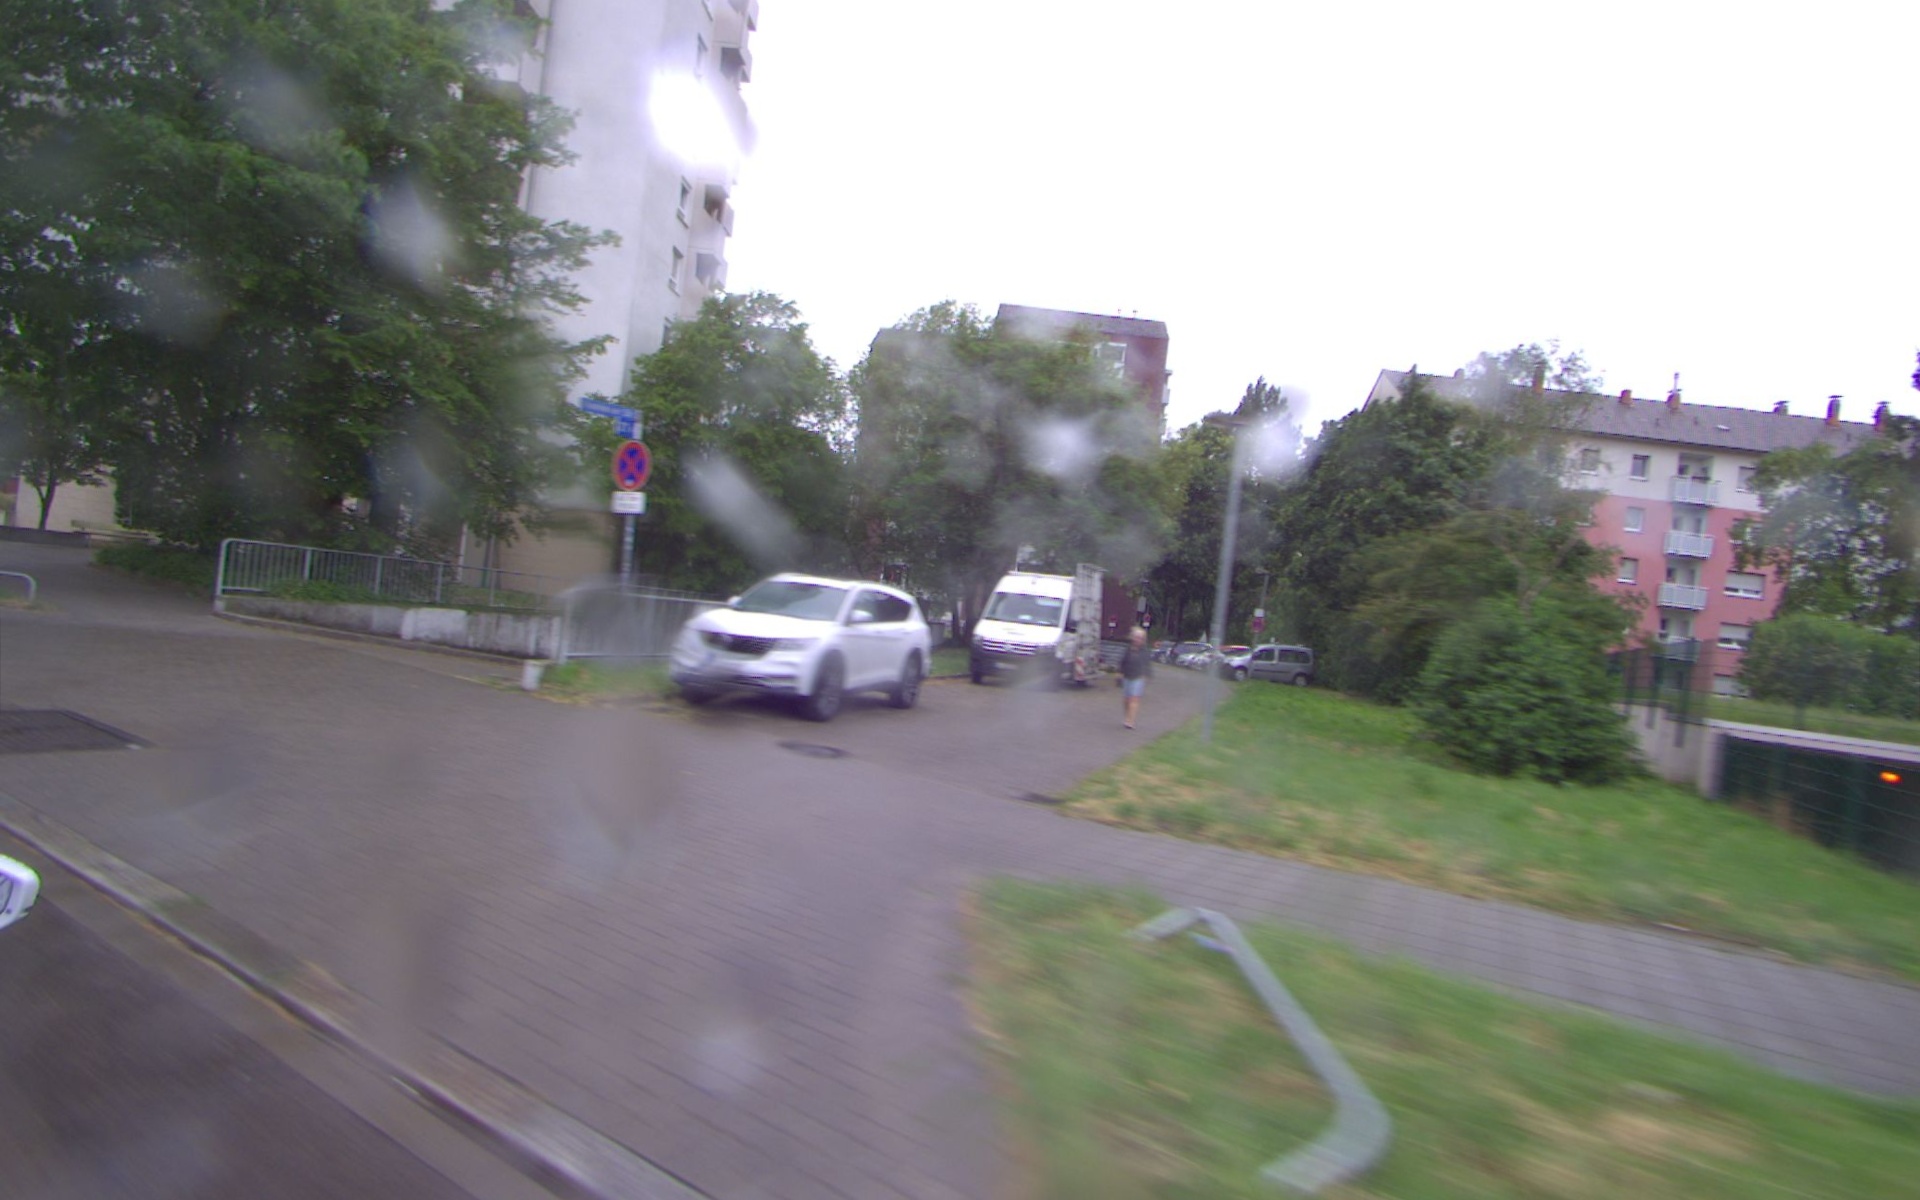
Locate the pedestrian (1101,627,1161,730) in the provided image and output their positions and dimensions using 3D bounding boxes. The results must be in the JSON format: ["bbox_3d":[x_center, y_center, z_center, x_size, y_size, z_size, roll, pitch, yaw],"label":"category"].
[{"bbox_3d":[2.879,1.300,16.871,0.799,1.589,0.840,7,0,12],"label":"pedestrian"}]

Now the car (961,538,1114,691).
[{"bbox_3d":[2.046,0.450,24.071,2.090,2.999,6.079,7,-1,17],"label":"car"}]

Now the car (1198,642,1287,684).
[{"bbox_3d":[13.887,3.139,49.677,3.924,1.470,2.004,8,-3,11],"label":"car"}]

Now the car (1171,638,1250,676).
[{"bbox_3d":[14.986,3.415,60.343,4.171,1.698,1.885,8,-1,5],"label":"car"}]

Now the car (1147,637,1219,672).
[{"bbox_3d":[14.520,3.527,65.607,4.171,1.698,1.885,8,-1,5],"label":"car"}]

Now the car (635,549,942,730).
[{"bbox_3d":[-1.988,0.541,13.468,1.962,1.766,4.821,7,-1,17],"label":"car"}]

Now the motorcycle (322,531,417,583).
[{"bbox_3d":[-18.239,-1.322,31.093,2.262,1.305,0.884,7,0,-5],"label":"motorcycle"}]

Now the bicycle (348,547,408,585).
[{"bbox_3d":[-17.352,-1.010,30.006,1.439,0.937,0.408,7,1,-5],"label":"bicycle"}]

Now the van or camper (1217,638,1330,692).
[{"bbox_3d":[13.886,2.857,44.754,4.334,1.792,1.908,7,0,4],"label":"van or camper"}]

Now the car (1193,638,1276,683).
[{"bbox_3d":[14.282,3.176,52.530,3.924,1.741,1.725,8,-2,11],"label":"car"}]

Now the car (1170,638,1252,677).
[{"bbox_3d":[14.375,3.273,57.744,4.170,1.699,1.885,7,0,5],"label":"car"}]

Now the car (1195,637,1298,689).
[{"bbox_3d":[13.355,2.917,47.031,4.171,1.799,1.885,8,-1,5],"label":"car"}]

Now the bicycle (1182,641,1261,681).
[{"bbox_3d":[14.242,3.330,54.929,3.923,1.651,1.180,7,-1,11],"label":"bicycle"}]
